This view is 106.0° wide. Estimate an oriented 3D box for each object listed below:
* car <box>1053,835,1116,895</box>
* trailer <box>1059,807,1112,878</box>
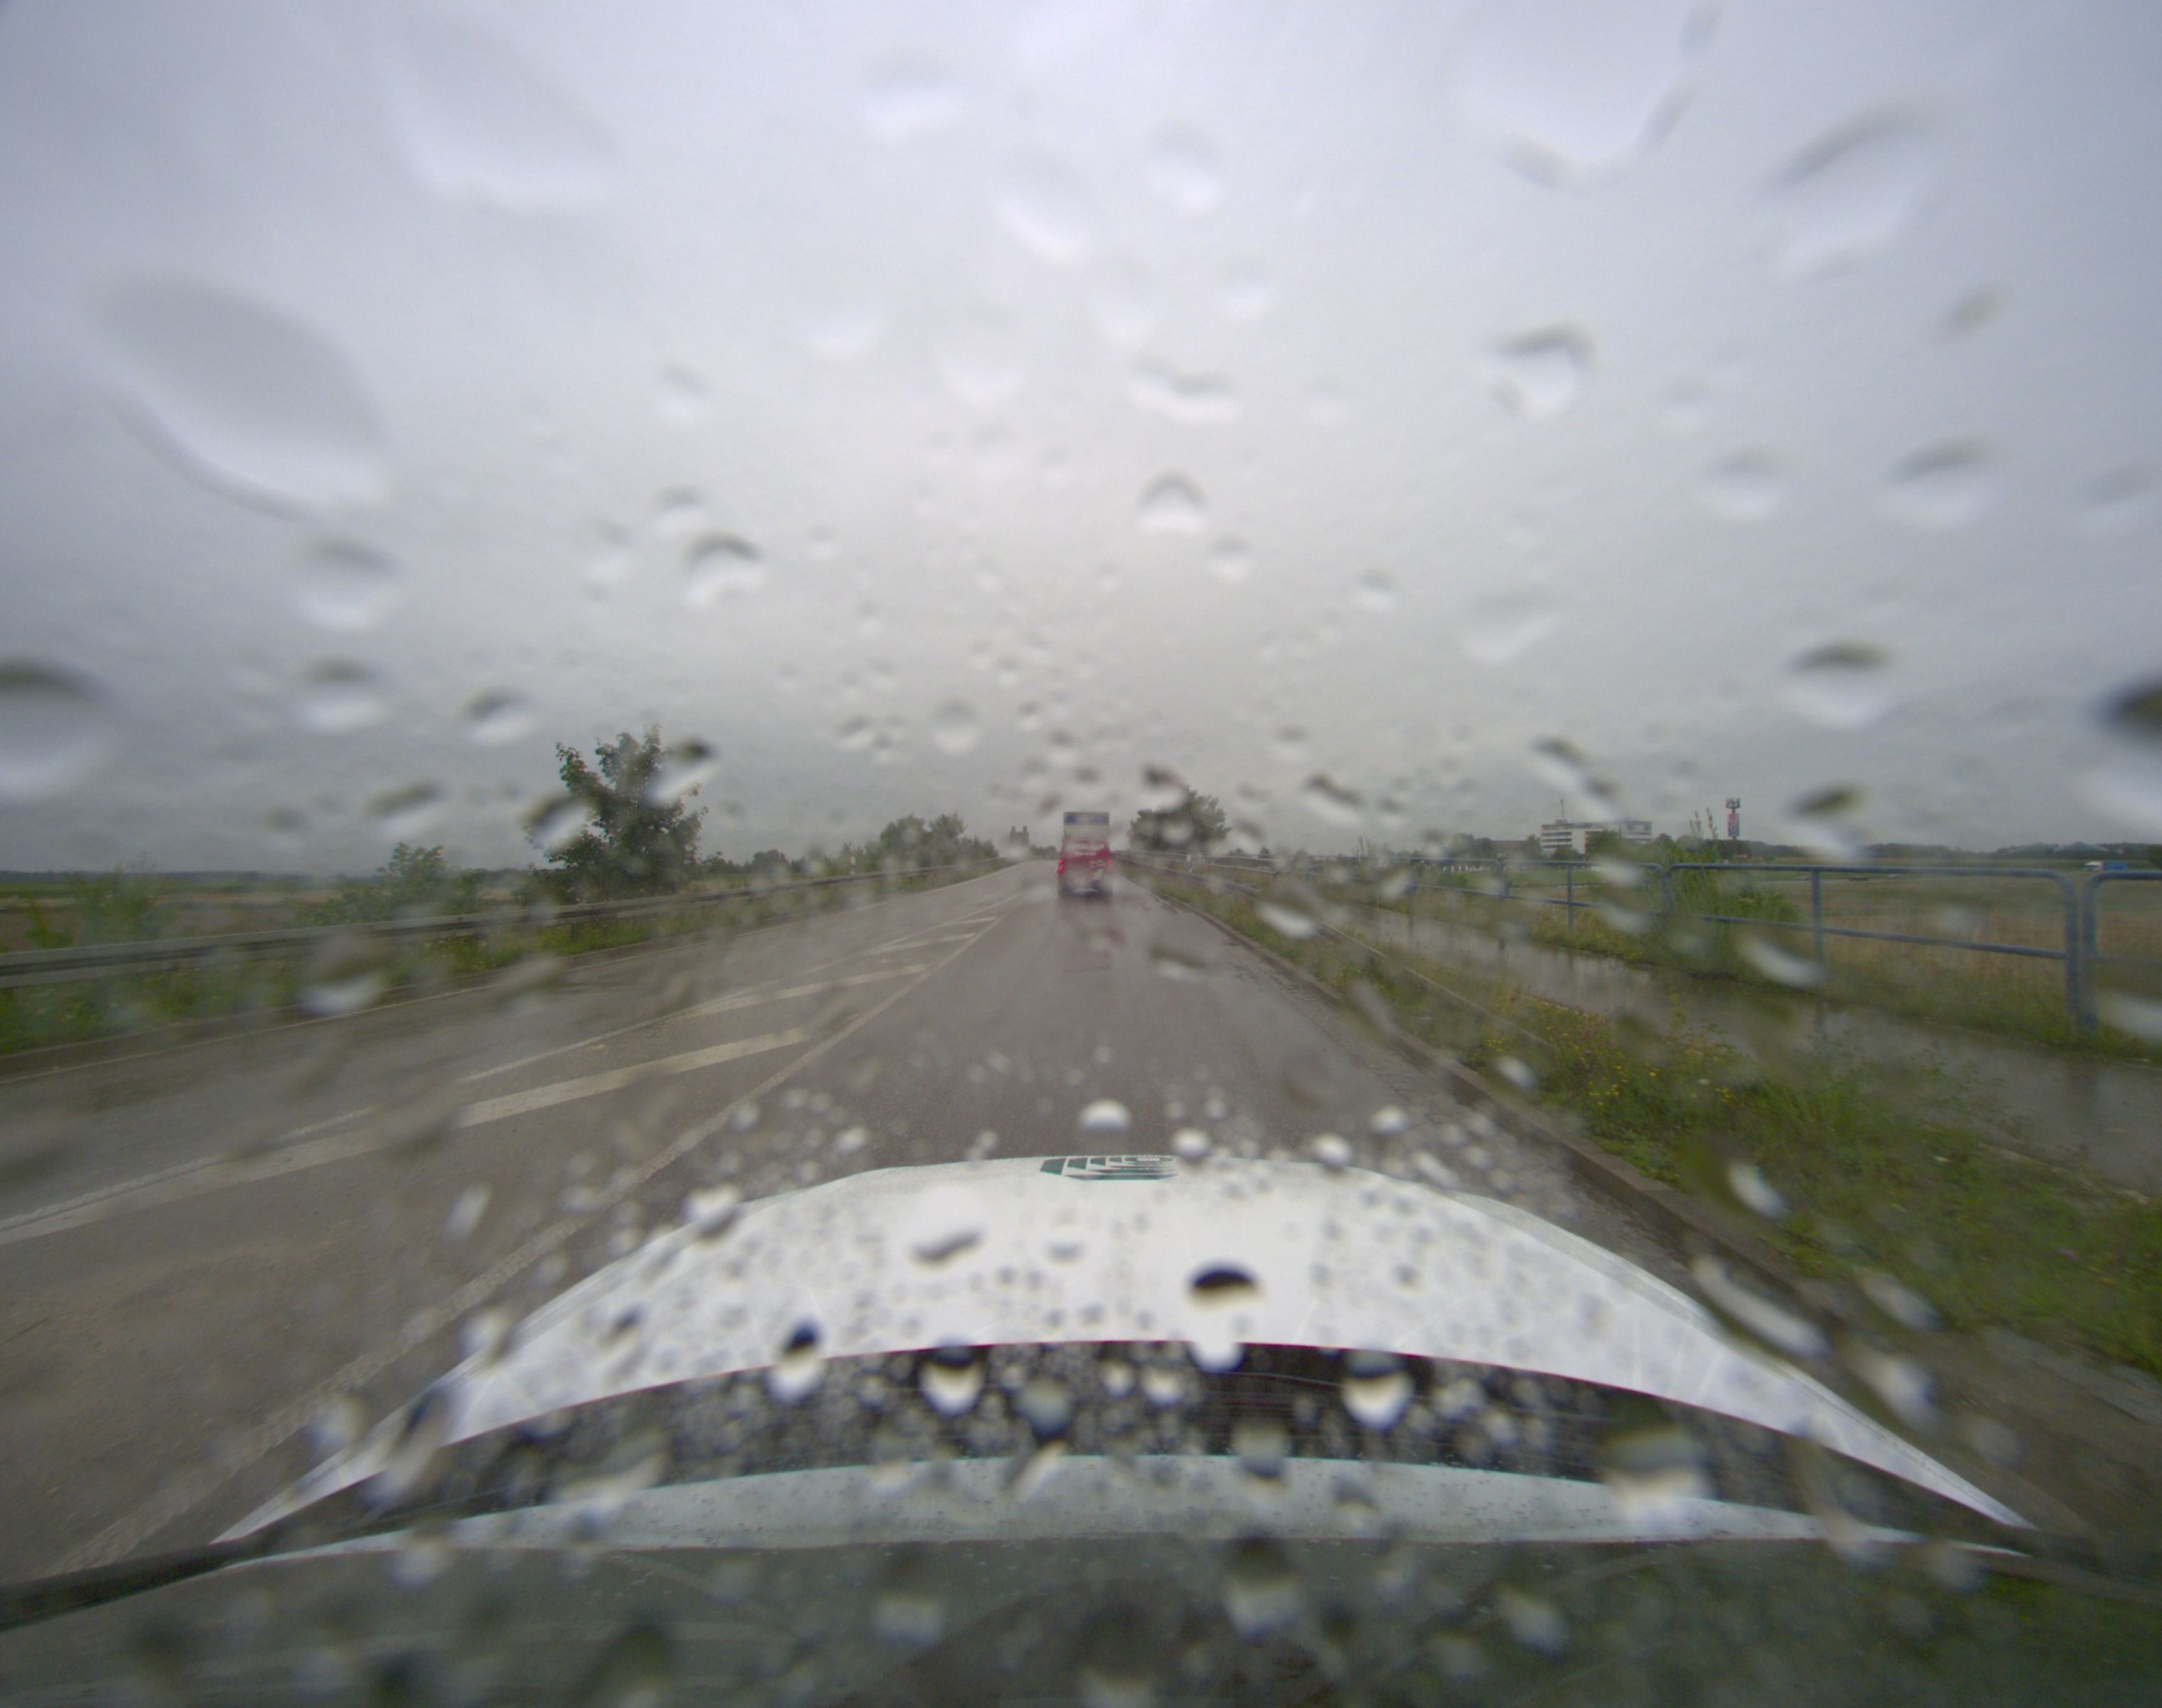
[{"bbox_3d":[0.141,0.353,28.821,1.987,1.870,4.979,-2,0,0],"label":"car"},{"bbox_3d":[0.344,-0.590,49.553,2.822,3.819,9.715,-1,0,1],"label":"trailer"}]
